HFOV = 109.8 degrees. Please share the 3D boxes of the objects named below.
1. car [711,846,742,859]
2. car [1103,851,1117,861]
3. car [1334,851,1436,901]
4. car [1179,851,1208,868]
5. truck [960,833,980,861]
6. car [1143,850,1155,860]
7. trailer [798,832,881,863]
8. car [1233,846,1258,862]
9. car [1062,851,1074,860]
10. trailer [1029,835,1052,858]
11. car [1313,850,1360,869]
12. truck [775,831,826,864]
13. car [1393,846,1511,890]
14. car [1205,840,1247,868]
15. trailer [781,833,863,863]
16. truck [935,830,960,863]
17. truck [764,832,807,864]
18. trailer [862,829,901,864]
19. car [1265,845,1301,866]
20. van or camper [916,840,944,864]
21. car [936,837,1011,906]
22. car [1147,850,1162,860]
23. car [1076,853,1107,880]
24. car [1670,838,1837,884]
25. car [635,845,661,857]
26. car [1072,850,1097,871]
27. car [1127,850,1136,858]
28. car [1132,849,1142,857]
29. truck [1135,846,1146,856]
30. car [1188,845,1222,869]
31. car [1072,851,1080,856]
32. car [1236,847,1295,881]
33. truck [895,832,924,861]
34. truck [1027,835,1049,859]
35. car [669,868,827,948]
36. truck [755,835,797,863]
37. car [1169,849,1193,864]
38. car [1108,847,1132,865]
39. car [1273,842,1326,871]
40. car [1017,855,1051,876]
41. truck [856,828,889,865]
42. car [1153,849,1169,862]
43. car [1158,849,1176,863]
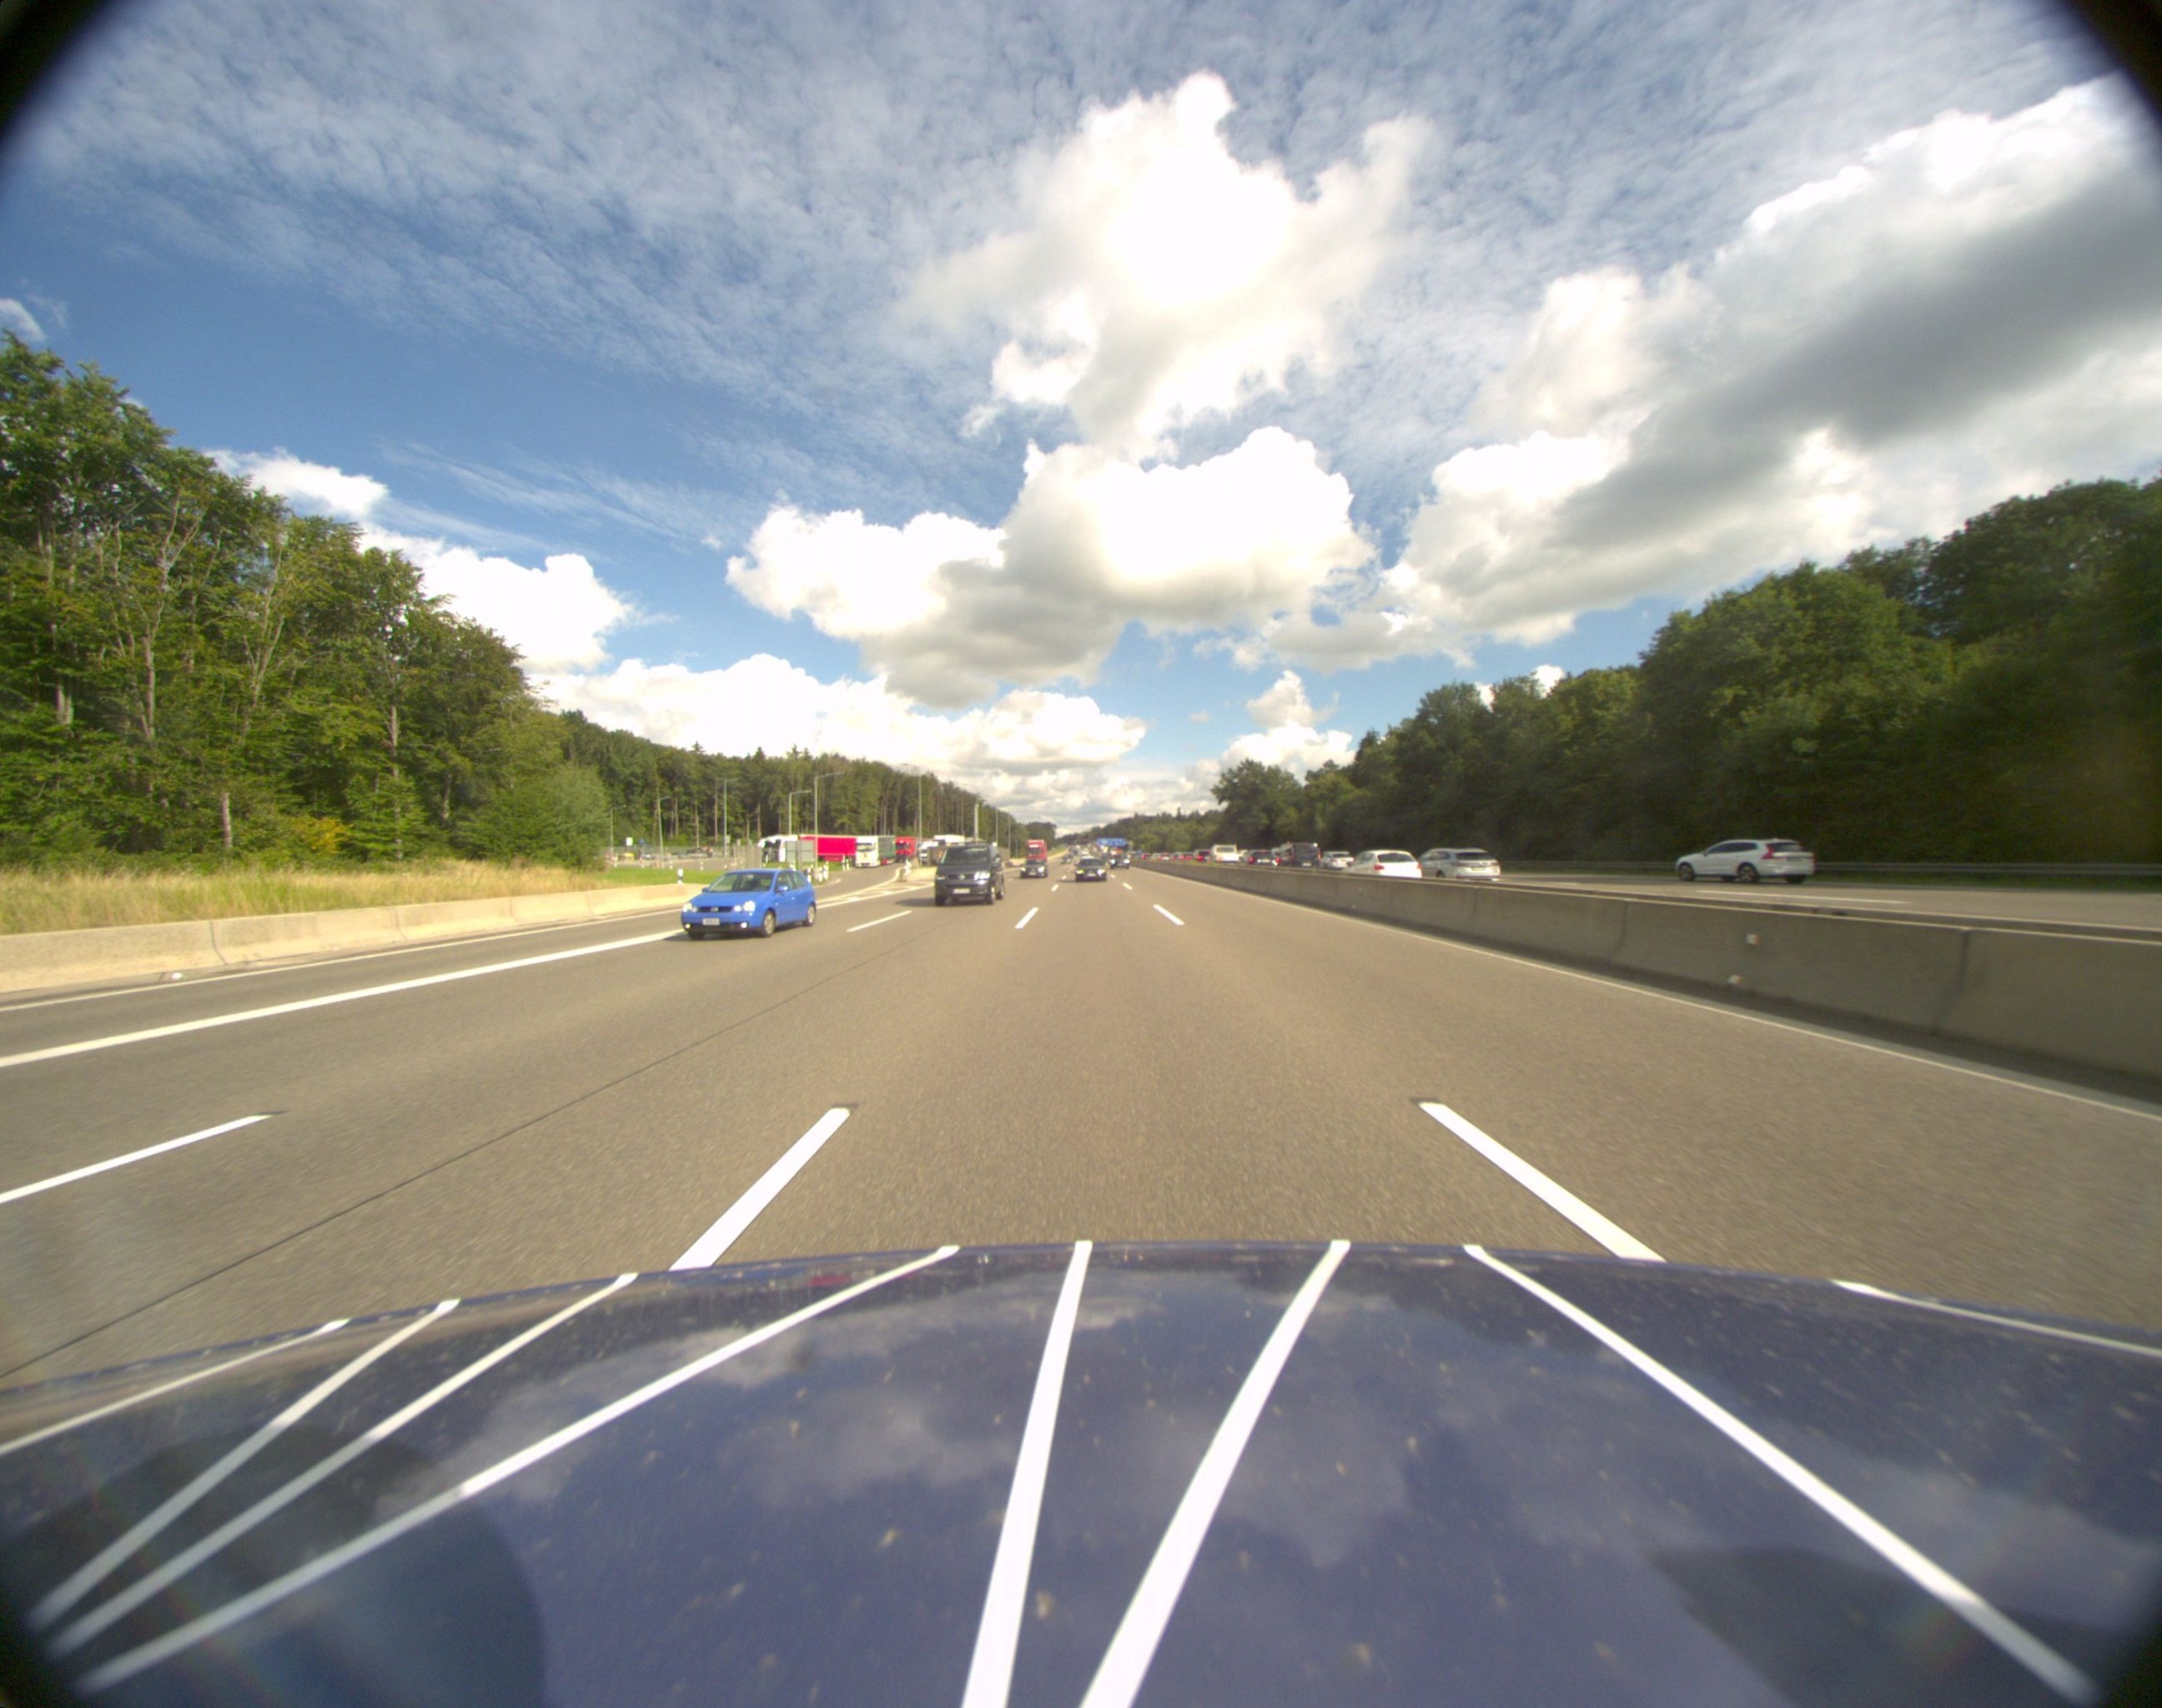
[{"bbox_3d":[-56.410,-0.249,120.895,3.997,1.904,2.000,0,1,-1],"label":"car"},{"bbox_3d":[4.836,0.291,127.886,2.153,1.540,4.677,-1,0,0],"label":"car"},{"bbox_3d":[10.564,0.706,26.747,1.917,1.631,4.242,0,0,0],"label":"car"},{"bbox_3d":[10.946,0.539,74.363,2.176,1.608,4.550,0,0,0],"label":"car"},{"bbox_3d":[-20.110,-1.290,137.820,2.661,4.896,7.261,0,0,0],"label":"truck"},{"bbox_3d":[11.183,0.141,125.755,1.642,1.543,4.000,-1,0,0],"label":"car"},{"bbox_3d":[-35.711,-1.007,112.861,11.406,4.348,2.838,-2,1,-43],"label":"trailer"},{"bbox_3d":[18.835,0.039,87.155,1.851,1.789,4.550,0,0,0],"label":"car"},{"bbox_3d":[-2.497,0.271,146.166,2.153,1.540,4.677,-1,0,0],"label":"car"},{"bbox_3d":[-6.740,-1.168,128.250,3.018,3.662,13.575,-1,0,1],"label":"trailer"},{"bbox_3d":[17.927,0.363,53.542,1.869,1.294,4.550,0,0,0],"label":"car"},{"bbox_3d":[-40.088,-0.941,108.748,6.109,4.481,2.873,-2,1,-43],"label":"truck"},{"bbox_3d":[13.821,0.462,28.723,1.998,1.476,5.131,-1,0,1],"label":"car"},{"bbox_3d":[11.008,-0.016,57.955,2.164,2.002,5.822,0,0,1],"label":"car"},{"bbox_3d":[-39.025,-0.968,115.099,11.571,4.405,2.854,-1,1,-44],"label":"trailer"},{"bbox_3d":[-20.321,-1.091,116.124,2.661,4.896,6.984,0,0,0],"label":"truck"},{"bbox_3d":[-43.212,-0.903,111.070,5.132,4.482,2.889,-1,1,-44],"label":"truck"},{"bbox_3d":[-27.203,-0.993,104.064,2.880,4.480,12.996,0,0,-4],"label":"trailer"},{"bbox_3d":[18.750,0.090,70.737,1.955,1.841,5.341,-1,0,0],"label":"car"},{"bbox_3d":[-20.453,-0.290,103.295,2.393,3.179,4.745,-1,0,7],"label":"van or camper"},{"bbox_3d":[-3.626,0.544,26.412,1.854,2.097,4.932,-2,0,0],"label":"car"},{"bbox_3d":[11.261,0.164,116.823,1.998,1.543,4.000,-1,0,0],"label":"car"},{"bbox_3d":[0.638,0.719,45.514,1.733,1.500,4.728,-2,0,1],"label":"car"},{"bbox_3d":[25.711,0.226,29.362,2.176,1.627,4.876,0,0,0],"label":"car"},{"bbox_3d":[-62.632,-0.395,109.952,3.988,1.674,1.962,0,1,39],"label":"car"},{"bbox_3d":[0.300,0.546,71.719,2.153,1.800,5.098,-2,1,0],"label":"car"},{"bbox_3d":[10.717,0.035,160.551,1.634,1.543,4.000,-1,0,0],"label":"car"},{"bbox_3d":[10.886,-0.125,148.627,1.698,1.543,4.000,-1,0,0],"label":"car"},{"bbox_3d":[15.021,-0.814,192.803,2.368,2.444,5.239,0,0,0],"label":"truck"},{"bbox_3d":[10.982,0.251,67.837,2.176,1.936,5.395,-1,0,0],"label":"car"},{"bbox_3d":[-1.407,-0.135,213.176,2.153,1.540,4.677,-1,0,0],"label":"car"},{"bbox_3d":[10.474,0.547,43.524,2.176,1.790,4.876,-1,0,0],"label":"car"},{"bbox_3d":[-27.340,-1.120,121.567,2.878,4.481,7.036,-1,0,0],"label":"truck"},{"bbox_3d":[-6.855,-1.109,121.954,3.018,3.662,7.561,-1,0,1],"label":"truck"},{"bbox_3d":[-7.165,1.088,16.823,1.654,1.433,4.000,-2,0,1],"label":"car"},{"bbox_3d":[-45.445,-0.712,113.341,5.181,4.094,2.565,-1,1,-43],"label":"truck"},{"bbox_3d":[10.863,0.248,83.030,1.998,1.608,4.550,-1,0,0],"label":"car"},{"bbox_3d":[4.144,0.188,81.141,2.153,1.800,5.098,-2,1,-1],"label":"car"},{"bbox_3d":[14.181,0.135,49.646,1.998,1.794,5.125,-1,0,1],"label":"car"},{"bbox_3d":[-3.416,0.828,56.075,2.153,1.426,5.099,-1,0,0],"label":"car"},{"bbox_3d":[-26.627,-0.925,97.306,2.880,4.481,7.173,0,0,-6],"label":"truck"},{"bbox_3d":[10.494,0.199,99.660,1.665,1.608,4.000,-1,0,0],"label":"car"},{"bbox_3d":[10.396,0.224,91.954,1.746,1.608,4.550,-1,0,0],"label":"car"}]
